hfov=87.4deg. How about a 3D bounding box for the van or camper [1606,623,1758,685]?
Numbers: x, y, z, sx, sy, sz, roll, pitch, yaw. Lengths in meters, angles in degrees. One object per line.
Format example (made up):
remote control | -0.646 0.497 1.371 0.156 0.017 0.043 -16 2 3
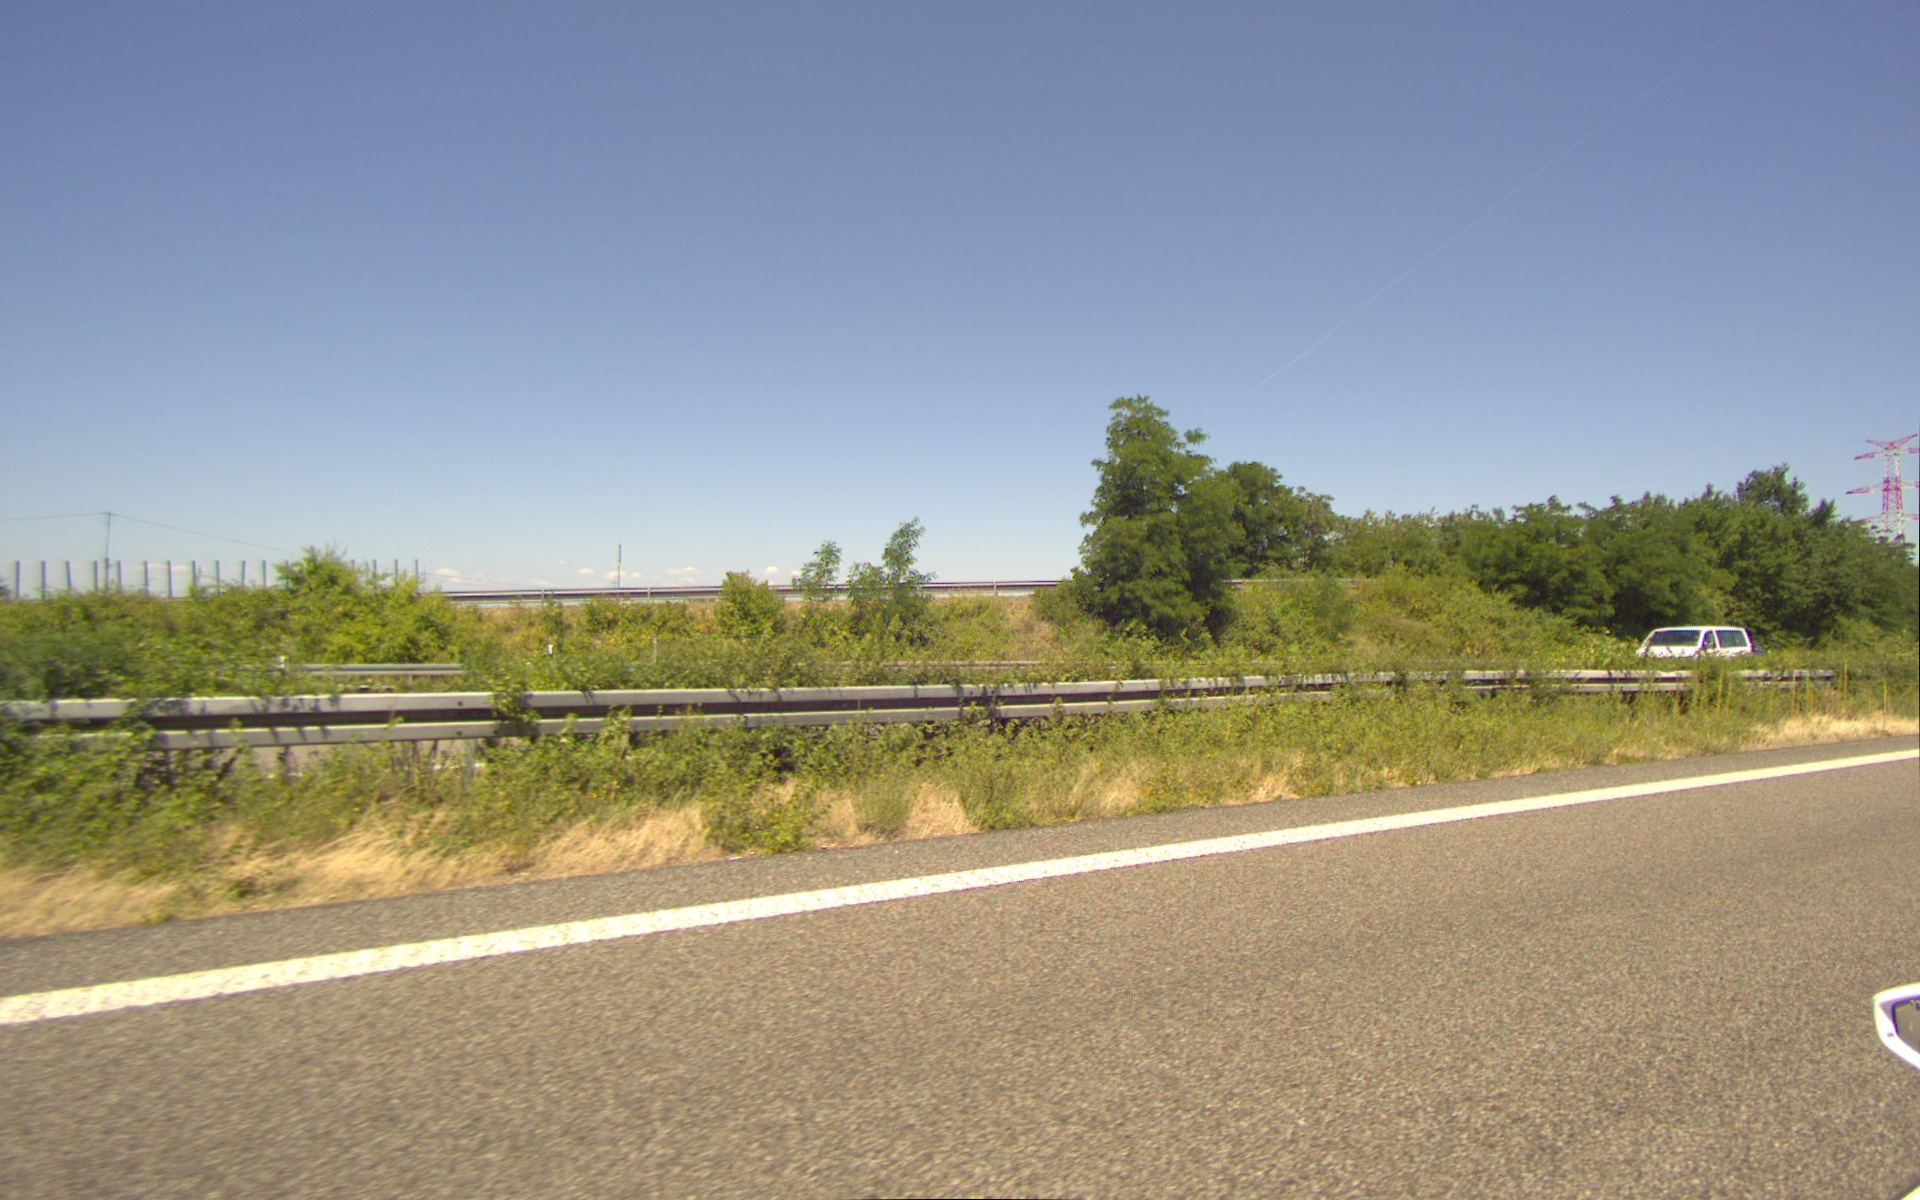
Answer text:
van or camper | 23.896 1.778 33.202 5.249 1.880 2.116 2 -3 -30
